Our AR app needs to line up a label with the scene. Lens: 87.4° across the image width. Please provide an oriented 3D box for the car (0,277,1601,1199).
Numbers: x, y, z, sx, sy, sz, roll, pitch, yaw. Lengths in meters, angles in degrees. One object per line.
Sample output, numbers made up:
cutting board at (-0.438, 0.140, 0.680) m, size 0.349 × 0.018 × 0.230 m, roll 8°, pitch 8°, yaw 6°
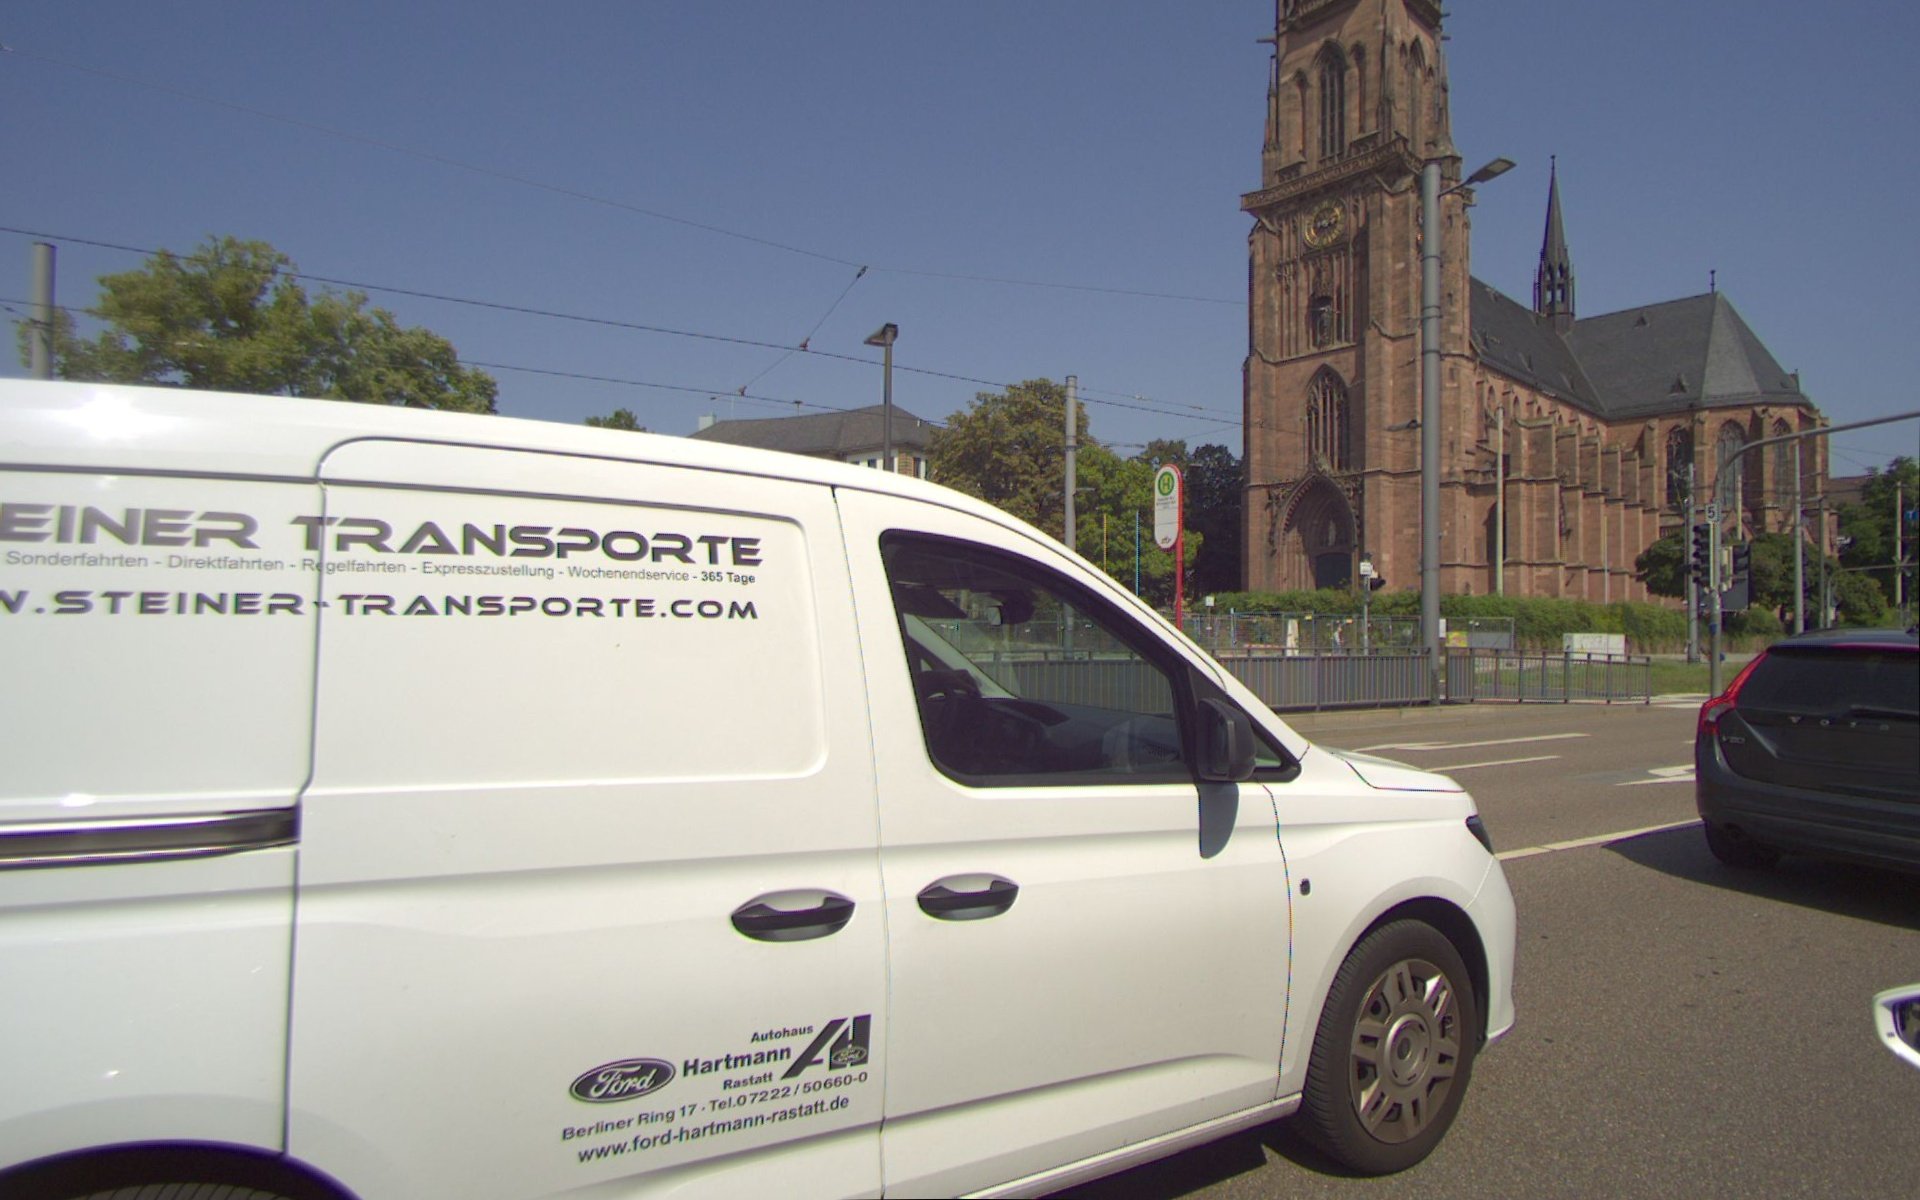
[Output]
car at (-0.321, 0.565, 2.705) m, size 4.189 × 1.844 × 1.739 m, roll 1°, pitch -1°, yaw -30°

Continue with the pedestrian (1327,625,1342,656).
pedestrian at (18.965, 2.057, 50.861) m, size 0.432 × 1.551 × 0.537 m, roll 1°, pitch -2°, yaw -44°

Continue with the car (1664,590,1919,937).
car at (6.260, 0.806, 6.011) m, size 4.257 × 1.636 × 1.739 m, roll 1°, pitch 0°, yaw -30°

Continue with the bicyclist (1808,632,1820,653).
bicyclist at (54.282, 2.677, 63.871) m, size 0.419 × 1.339 × 0.446 m, roll 1°, pitch -2°, yaw -28°
